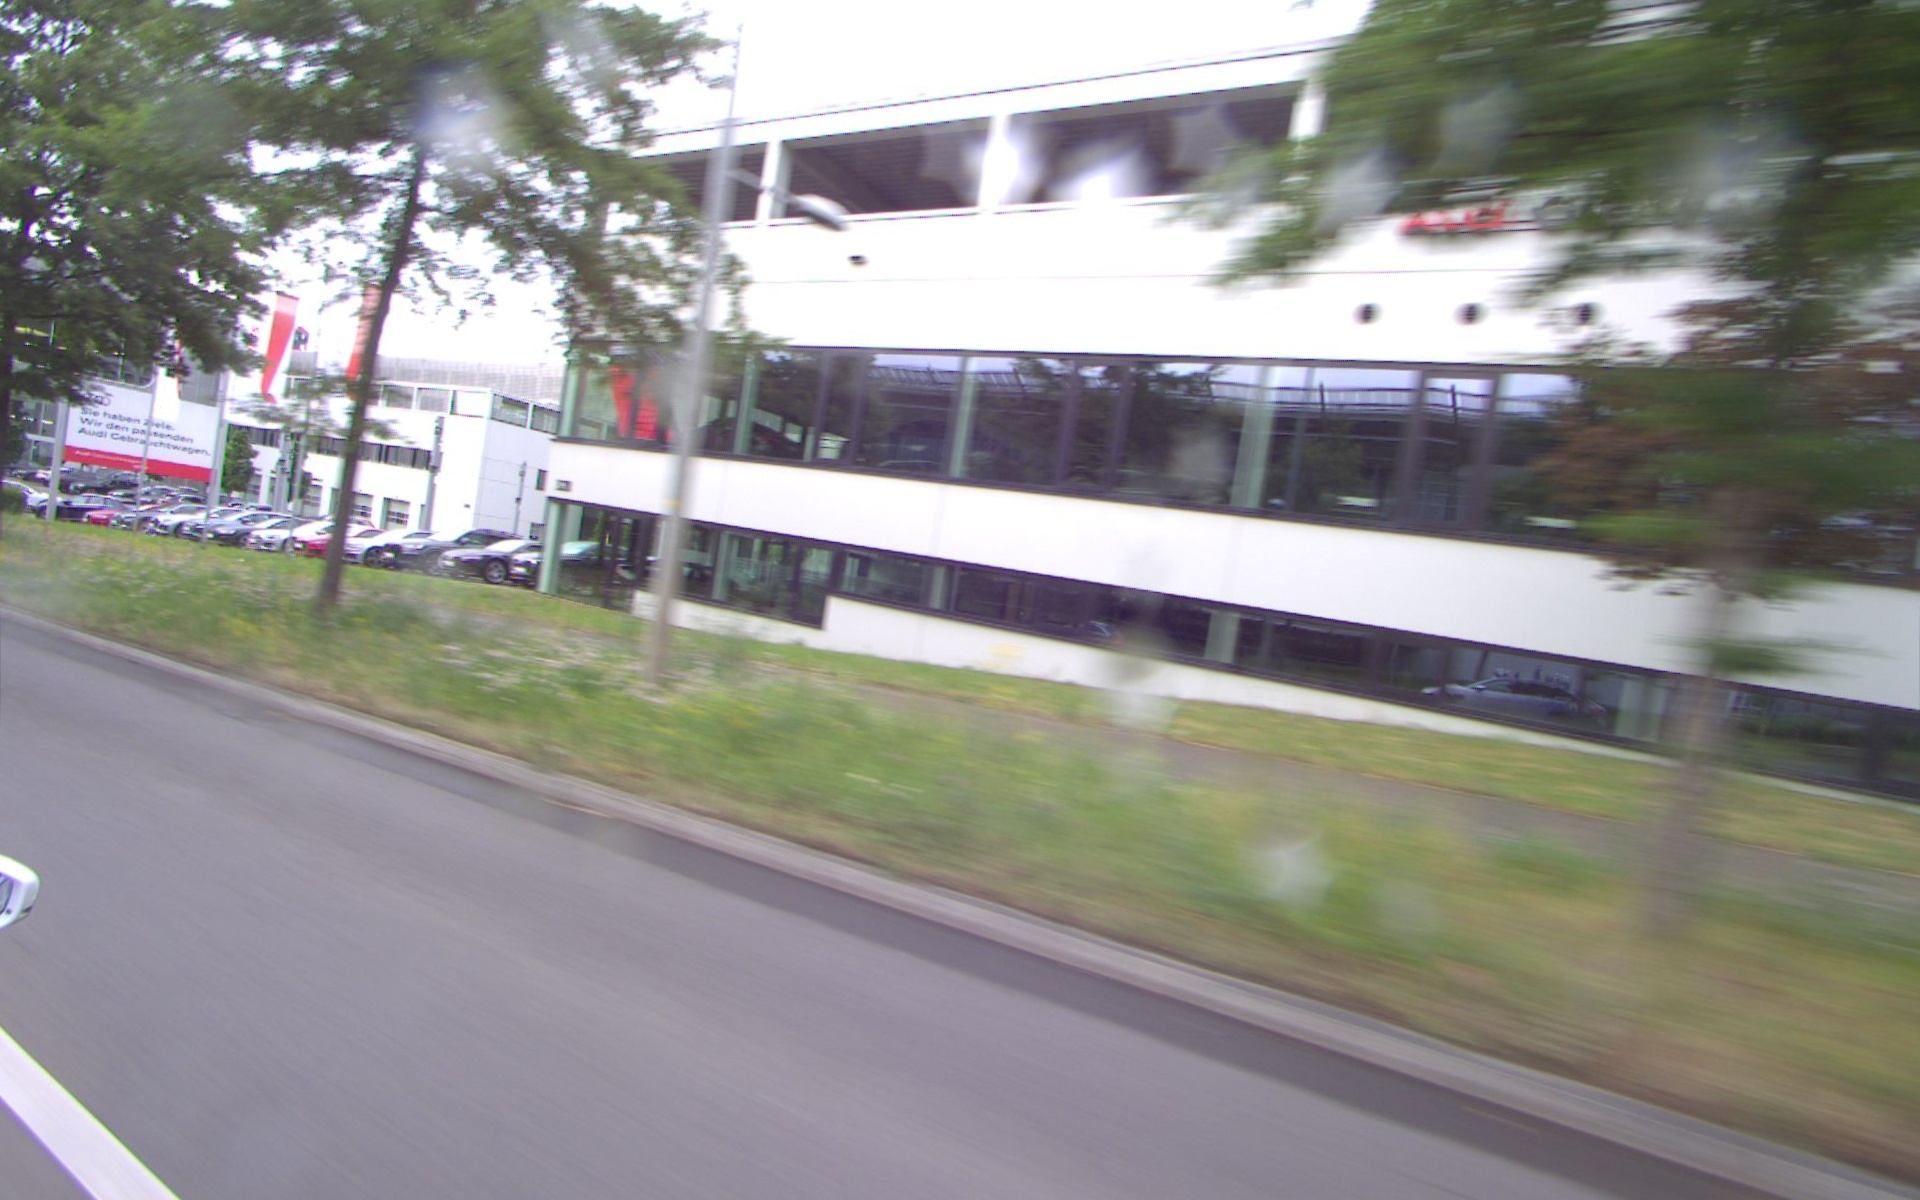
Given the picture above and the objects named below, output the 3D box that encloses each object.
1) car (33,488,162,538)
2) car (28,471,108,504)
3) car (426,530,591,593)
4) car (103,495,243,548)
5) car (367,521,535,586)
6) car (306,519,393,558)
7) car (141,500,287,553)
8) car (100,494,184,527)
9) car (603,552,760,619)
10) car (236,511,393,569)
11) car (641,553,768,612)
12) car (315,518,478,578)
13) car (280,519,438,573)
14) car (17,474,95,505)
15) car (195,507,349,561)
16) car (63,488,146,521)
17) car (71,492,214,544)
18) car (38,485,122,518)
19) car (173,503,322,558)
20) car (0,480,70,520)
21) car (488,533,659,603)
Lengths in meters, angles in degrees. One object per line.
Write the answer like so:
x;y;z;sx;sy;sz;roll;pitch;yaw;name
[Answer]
-39.964;-4.027;46.700;4.279;1.613;1.838;7;0;0;car
-67.600;-8.520;76.298;1.664;1.592;4.114;8;-1;30;car
-13.713;-1.124;30.806;1.805;1.395;4.326;6;0;29;car
-33.617;-3.325;43.105;1.795;1.612;4.284;6;-1;29;car
-16.362;-1.467;32.559;2.006;1.519;4.402;6;0;31;car
-41.285;-4.133;68.134;1.968;1.877;4.531;7;-1;35;car
-31.091;-3.020;42.056;1.899;1.570;4.466;6;0;31;car
-56.951;-6.248;70.115;1.664;1.593;4.112;7;-1;30;car
-7.608;-0.403;27.406;3.857;1.354;1.900;6;-1;31;car
-23.879;-2.180;37.401;1.899;1.473;4.468;6;-1;31;car
-8.988;-0.593;35.706;1.795;1.569;4.284;6;-1;29;car
-18.906;-1.697;33.962;1.859;1.445;4.402;6;0;31;car
-21.194;-1.870;35.662;1.899;1.365;4.402;6;0;30;car
-70.613;-8.615;78.629;1.730;1.592;4.114;8;-1;30;car
-26.470;-2.503;38.848;1.899;1.474;4.466;6;0;31;car
-61.190;-6.832;72.031;1.664;1.593;4.112;9;0;30;car
-36.289;-3.609;44.791;1.897;1.569;4.472;6;-1;27;car
-63.732;-7.128;72.885;1.795;1.592;4.114;8;-1;30;car
-28.627;-2.770;40.574;1.899;1.547;4.467;6;0;31;car
-50.060;-5.376;53.063;1.913;1.612;4.119;6;-2;23;car
-11.318;-0.896;29.776;1.899;1.499;4.404;6;-1;31;car
